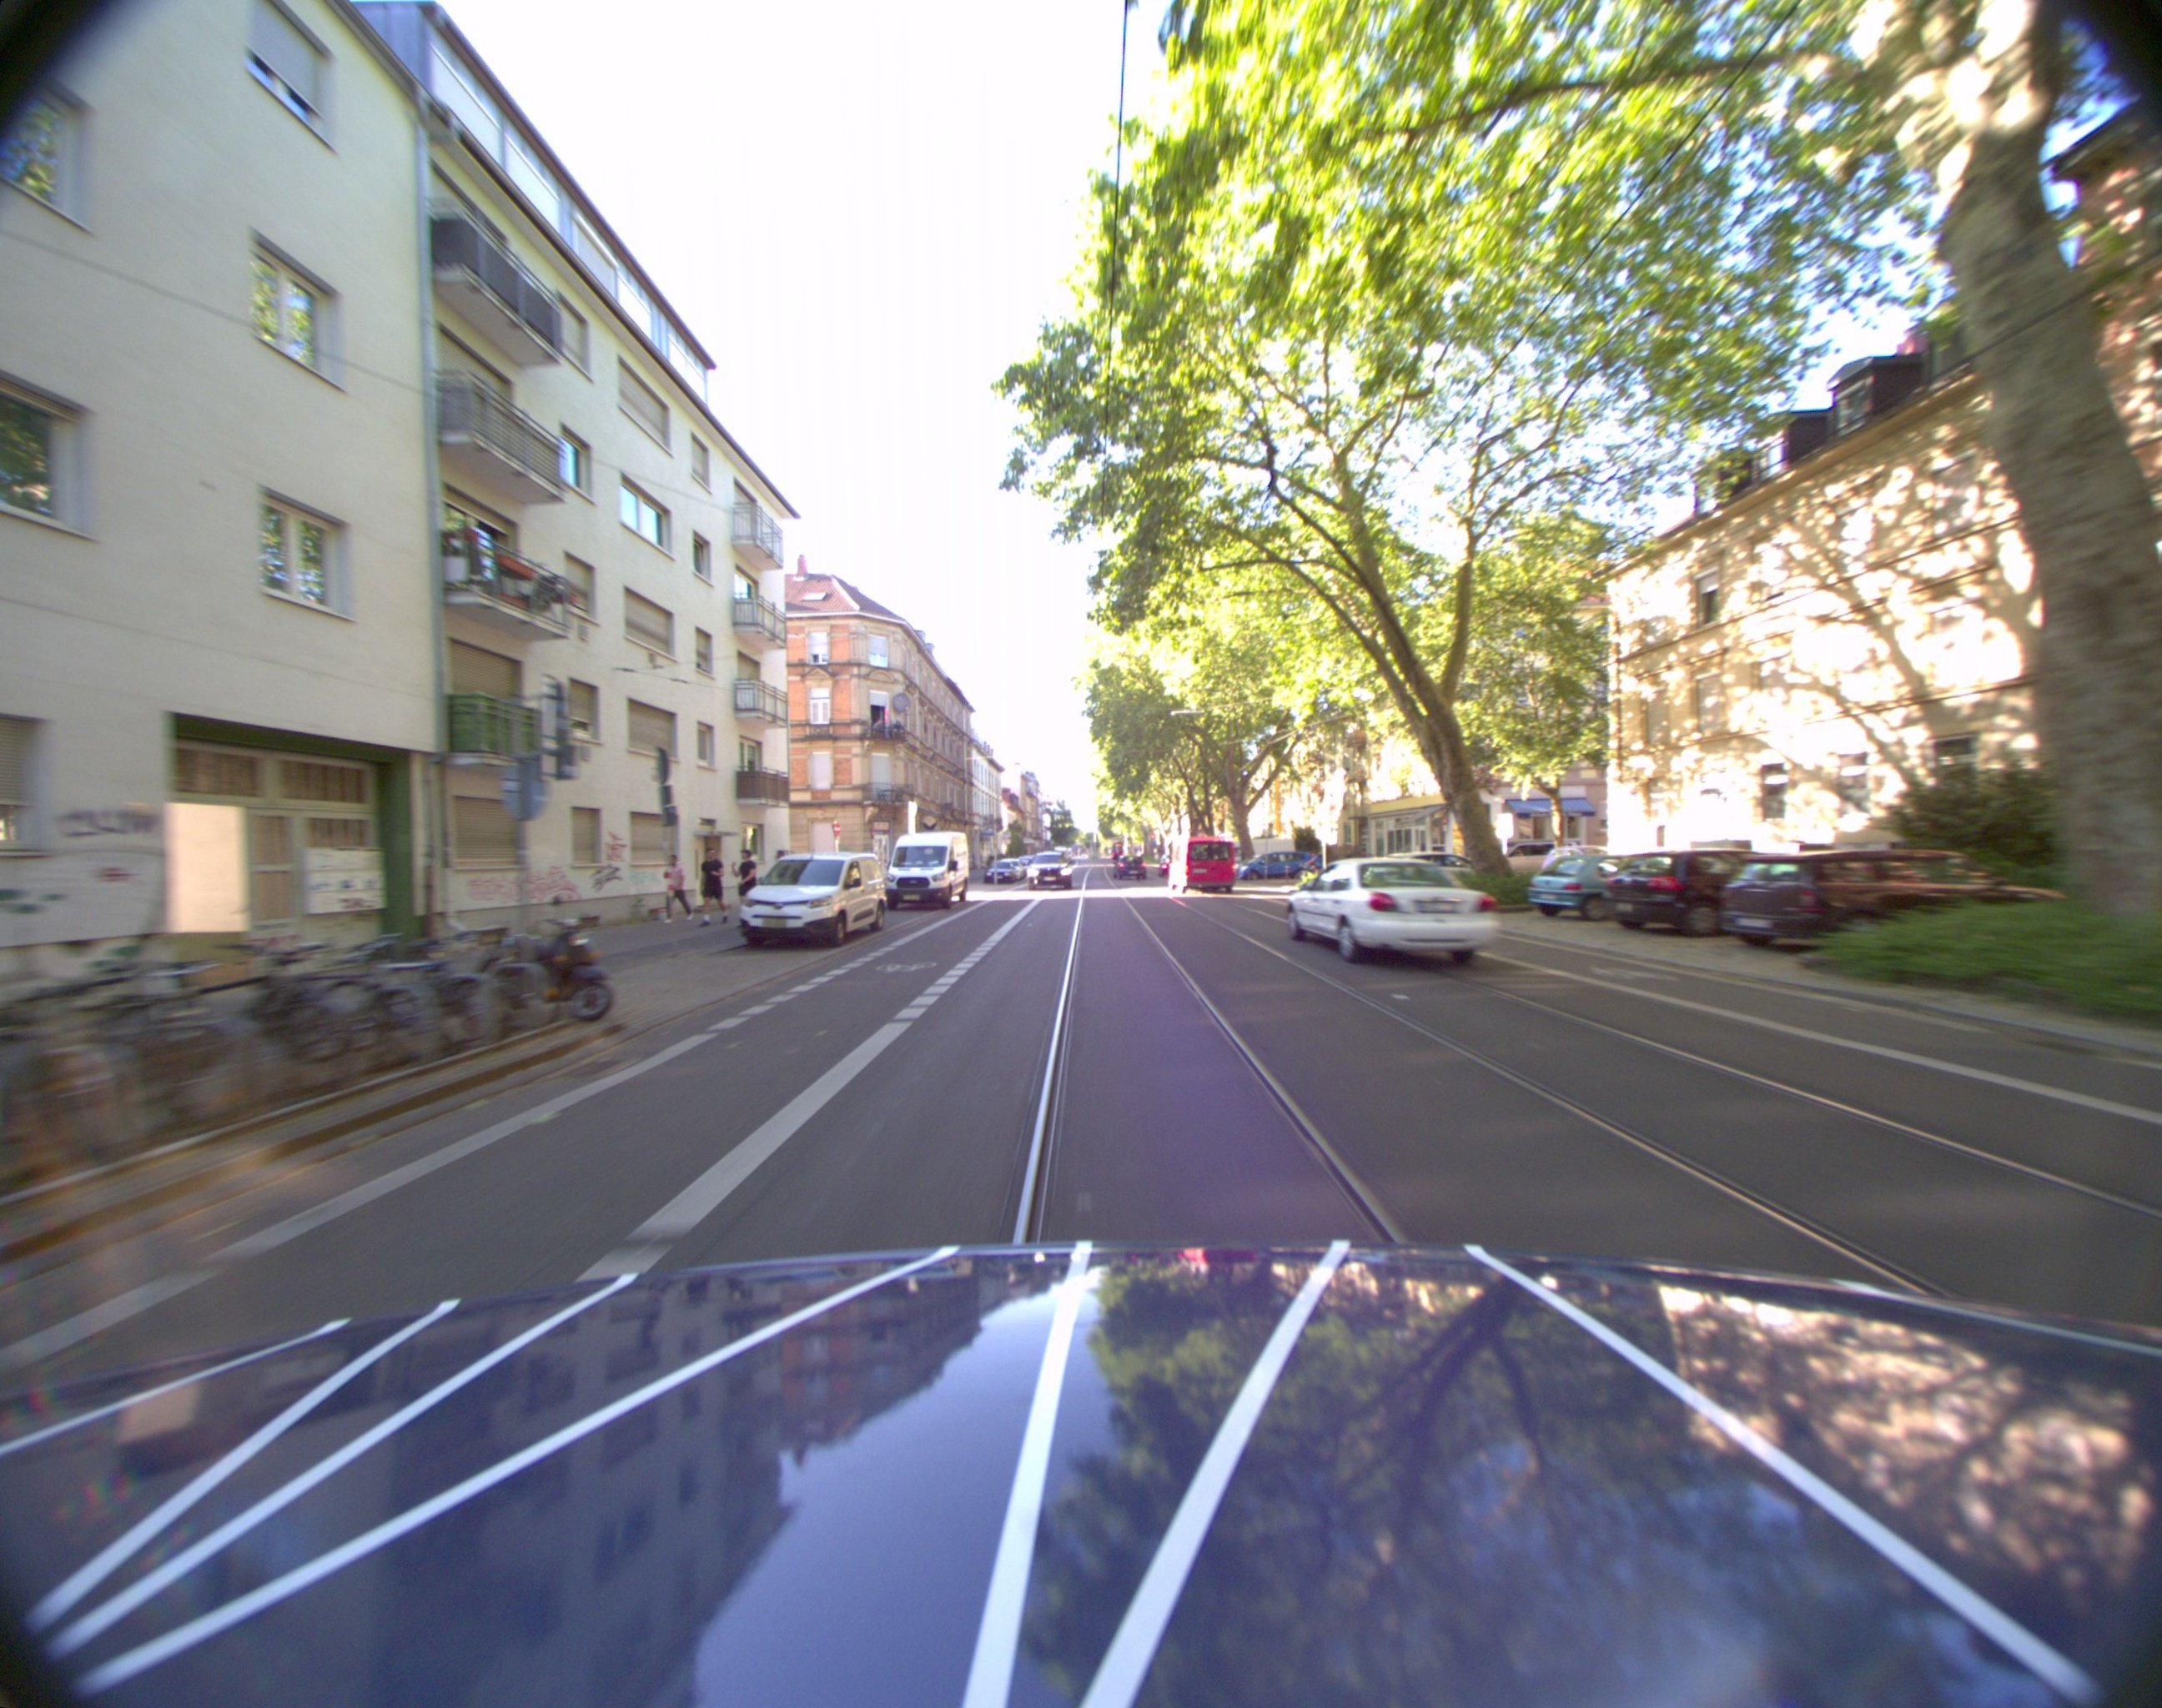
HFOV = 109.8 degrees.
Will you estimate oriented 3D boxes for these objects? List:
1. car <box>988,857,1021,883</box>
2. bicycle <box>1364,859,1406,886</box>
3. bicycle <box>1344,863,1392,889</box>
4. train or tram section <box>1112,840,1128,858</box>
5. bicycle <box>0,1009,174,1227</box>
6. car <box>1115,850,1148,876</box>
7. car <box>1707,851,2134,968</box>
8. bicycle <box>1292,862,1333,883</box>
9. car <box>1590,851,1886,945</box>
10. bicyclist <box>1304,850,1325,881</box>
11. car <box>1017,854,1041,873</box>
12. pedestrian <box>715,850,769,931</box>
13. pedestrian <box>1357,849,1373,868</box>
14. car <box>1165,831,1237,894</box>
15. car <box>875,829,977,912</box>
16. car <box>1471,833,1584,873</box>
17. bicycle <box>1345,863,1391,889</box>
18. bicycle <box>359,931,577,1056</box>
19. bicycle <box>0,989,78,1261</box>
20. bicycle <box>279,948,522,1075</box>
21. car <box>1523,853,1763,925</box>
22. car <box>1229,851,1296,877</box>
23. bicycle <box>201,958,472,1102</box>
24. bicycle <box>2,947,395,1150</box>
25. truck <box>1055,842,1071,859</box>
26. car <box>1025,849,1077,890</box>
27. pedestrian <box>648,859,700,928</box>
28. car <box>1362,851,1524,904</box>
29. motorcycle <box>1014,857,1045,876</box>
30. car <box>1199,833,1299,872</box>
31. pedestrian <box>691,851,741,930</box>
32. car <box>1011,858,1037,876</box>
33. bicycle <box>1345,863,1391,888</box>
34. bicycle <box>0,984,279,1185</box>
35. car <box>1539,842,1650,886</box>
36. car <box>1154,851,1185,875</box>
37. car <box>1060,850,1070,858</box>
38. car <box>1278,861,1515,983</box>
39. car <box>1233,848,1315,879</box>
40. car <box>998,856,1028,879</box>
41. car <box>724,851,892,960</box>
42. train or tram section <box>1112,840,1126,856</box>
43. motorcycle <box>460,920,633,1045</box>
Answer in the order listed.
[{"bbox_3d":[-4.719,0.966,47.248,1.653,1.412,4.059,1,1,-1],"label":"car"},{"bbox_3d":[12.221,0.752,30.574,1.560,1.082,0.397,-1,1,19],"label":"bicycle"},{"bbox_3d":[12.082,0.939,32.014,1.858,1.082,0.397,-1,1,19],"label":"bicycle"},{"bbox_3d":[7.963,-1.091,156.385,2.944,3.598,11.062,-3,1,2],"label":"train or tram section"},{"bbox_3d":[-5.801,1.331,3.941,1.657,0.960,0.457,1,1,1],"label":"bicycle"},{"bbox_3d":[3.087,0.551,46.945,1.722,1.501,3.722,-1,0,0],"label":"car"},{"bbox_3d":[11.521,0.719,10.670,3.996,1.452,1.704,-1,1,3],"label":"car"},{"bbox_3d":[11.486,0.924,37.716,1.874,1.026,0.629,-1,1,8],"label":"bicycle"},{"bbox_3d":[11.504,0.706,13.428,4.000,1.452,1.769,-1,1,-8],"label":"car"},{"bbox_3d":[11.567,0.585,37.682,0.868,1.517,0.737,-1,1,8],"label":"bicyclist"},{"bbox_3d":[-4.355,0.792,64.361,1.610,1.444,3.741,1,1,2],"label":"car"},{"bbox_3d":[-7.871,0.820,17.692,0.711,1.812,1.082,0,2,3],"label":"pedestrian"},{"bbox_3d":[18.513,0.289,49.512,0.709,1.234,0.930,-1,1,3],"label":"pedestrian"},{"bbox_3d":[4.618,0.282,29.945,1.922,2.214,4.959,1,1,-1],"label":"car"},{"bbox_3d":[-5.159,0.483,26.256,2.154,2.481,6.087,-1,1,0],"label":"car"},{"bbox_3d":[23.032,-0.078,39.379,4.582,1.870,2.128,-1,3,5],"label":"car"},{"bbox_3d":[12.328,0.945,32.672,1.858,1.082,0.397,-1,1,19],"label":"bicycle"},{"bbox_3d":[-5.647,1.277,7.038,1.657,1.049,0.457,1,1,1],"label":"bicycle"},{"bbox_3d":[-5.819,1.245,3.490,1.828,1.185,0.457,1,1,1],"label":"bicycle"},{"bbox_3d":[-5.767,1.326,6.480,1.657,0.981,0.457,-1,1,1],"label":"bicycle"},{"bbox_3d":[11.759,0.694,16.032,3.998,1.361,1.604,-1,1,-5],"label":"car"},{"bbox_3d":[11.309,0.597,47.510,3.779,1.509,1.747,-1,1,-2],"label":"car"},{"bbox_3d":[-5.715,1.337,5.876,1.657,0.981,0.457,1,1,1],"label":"bicycle"},{"bbox_3d":[-5.773,1.246,5.047,1.798,1.141,0.704,1,1,1],"label":"bicycle"},{"bbox_3d":[-3.491,-0.777,149.617,2.842,3.145,7.291,-3,1,0],"label":"truck"},{"bbox_3d":[-1.314,0.702,35.225,1.948,1.694,4.631,-2,-1,3],"label":"car"},{"bbox_3d":[-9.865,0.941,18.454,0.633,1.572,0.933,4,2,3],"label":"pedestrian"},{"bbox_3d":[10.824,0.668,22.919,3.997,1.452,1.879,-1,1,0],"label":"car"},{"bbox_3d":[-3.834,0.914,56.402,2.143,1.281,0.642,-2,1,-21],"label":"motorcycle"},{"bbox_3d":[11.872,-0.102,54.093,6.618,2.393,2.000,-3,0,1],"label":"car"},{"bbox_3d":[-8.704,0.837,18.153,0.626,1.812,1.082,0,2,3],"label":"pedestrian"},{"bbox_3d":[-4.413,0.986,59.331,1.653,1.265,3.724,1,1,0],"label":"car"},{"bbox_3d":[12.486,0.938,33.086,1.858,1.082,0.397,-1,1,19],"label":"bicycle"},{"bbox_3d":[-5.774,1.324,4.458,1.657,1.015,0.457,1,1,1],"label":"bicycle"},{"bbox_3d":[18.548,0.328,27.622,1.603,1.452,3.488,-1,0,-2],"label":"car"},{"bbox_3d":[5.970,0.569,51.325,1.639,1.501,3.691,1,0,0],"label":"car"},{"bbox_3d":[-2.796,0.028,133.761,1.702,1.324,3.686,0,1,2],"label":"car"},{"bbox_3d":[4.344,0.835,11.290,1.722,1.351,4.470,-1,0,1],"label":"car"},{"bbox_3d":[11.331,0.531,44.781,4.331,1.702,1.816,-1,1,-2],"label":"car"},{"bbox_3d":[-4.662,0.906,52.528,1.606,1.412,4.013,1,1,1],"label":"car"},{"bbox_3d":[-5.432,0.919,15.770,1.863,1.810,4.349,2,1,0],"label":"car"},{"bbox_3d":[8.814,-1.521,179.375,2.944,3.598,12.410,-3,1,2],"label":"train or tram section"},{"bbox_3d":[-5.599,1.291,7.940,1.820,1.074,0.618,0,1,24],"label":"motorcycle"}]
